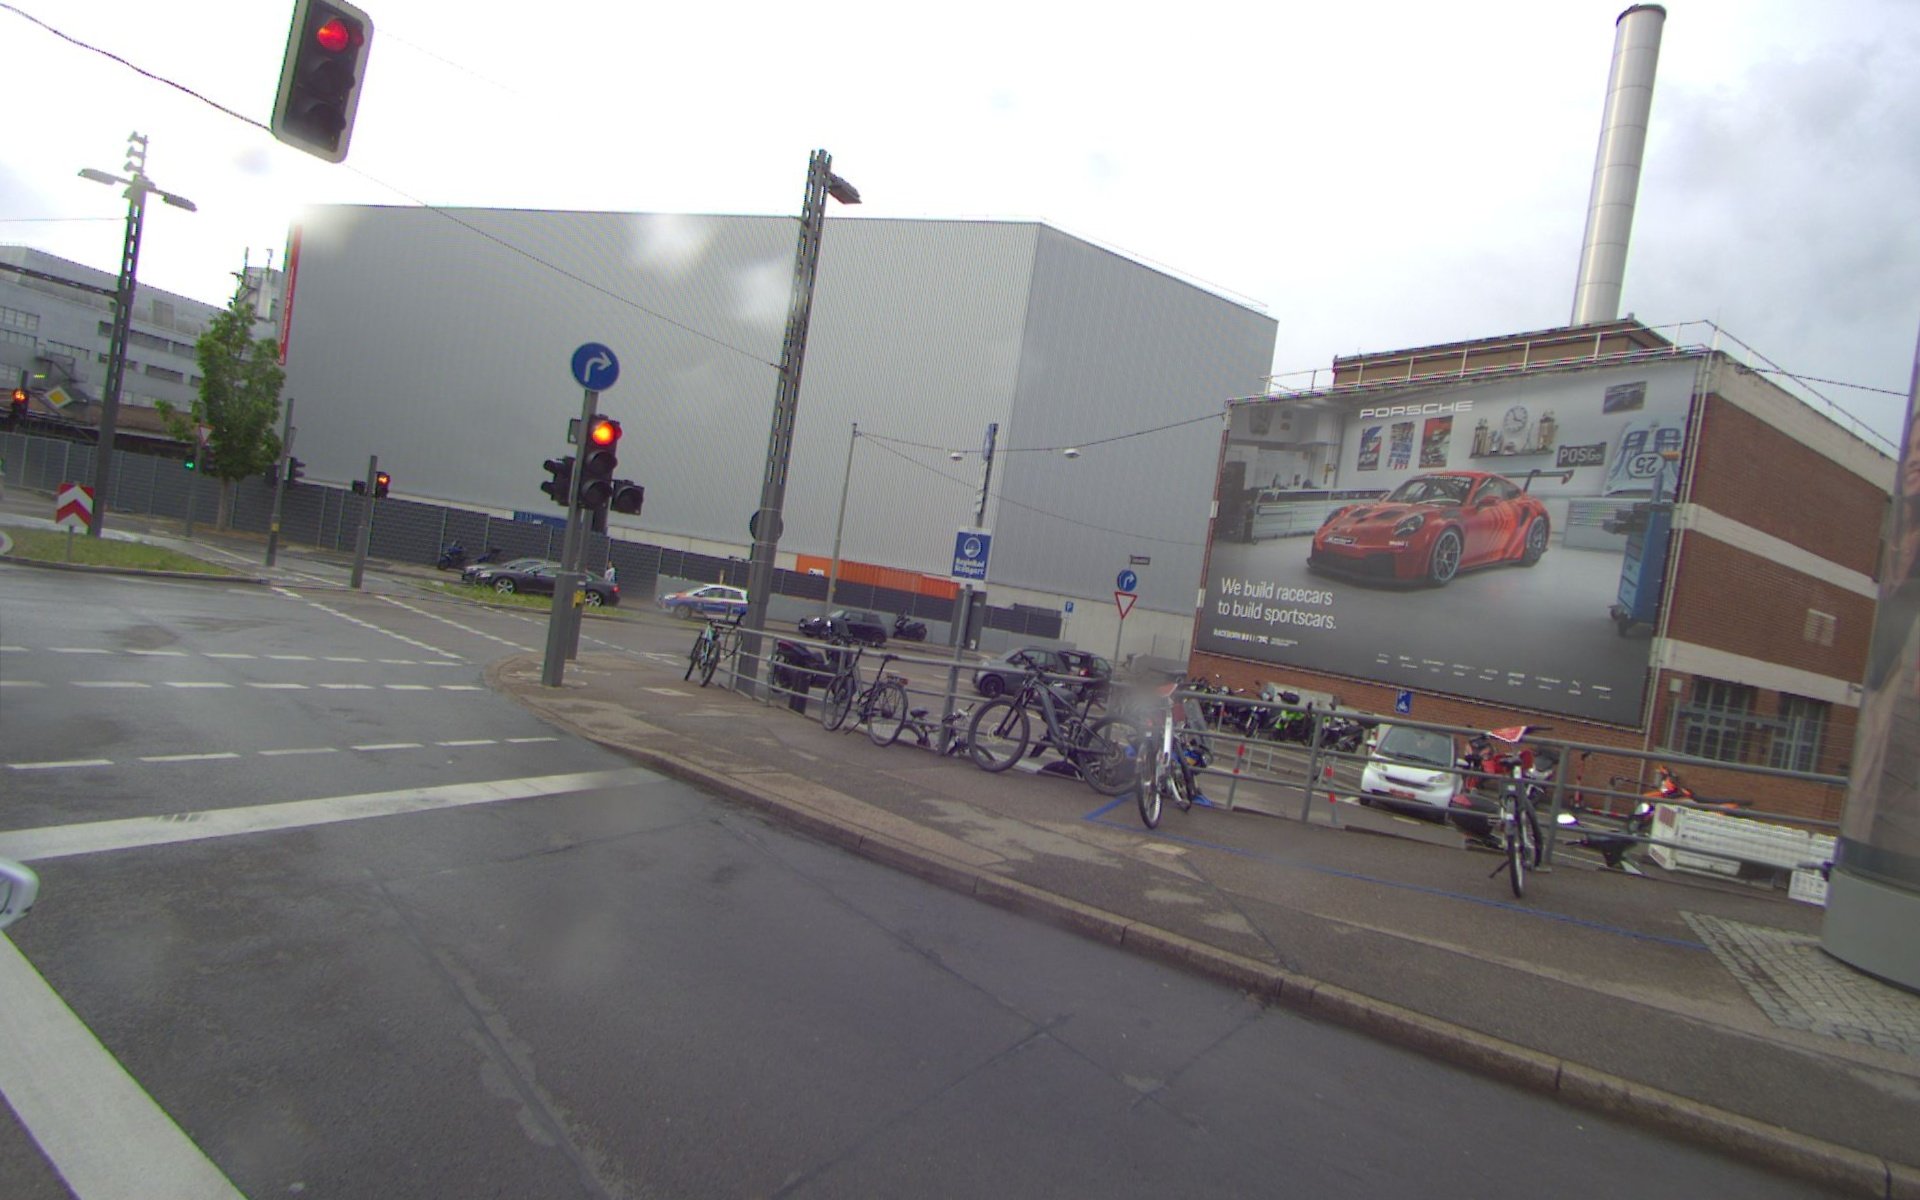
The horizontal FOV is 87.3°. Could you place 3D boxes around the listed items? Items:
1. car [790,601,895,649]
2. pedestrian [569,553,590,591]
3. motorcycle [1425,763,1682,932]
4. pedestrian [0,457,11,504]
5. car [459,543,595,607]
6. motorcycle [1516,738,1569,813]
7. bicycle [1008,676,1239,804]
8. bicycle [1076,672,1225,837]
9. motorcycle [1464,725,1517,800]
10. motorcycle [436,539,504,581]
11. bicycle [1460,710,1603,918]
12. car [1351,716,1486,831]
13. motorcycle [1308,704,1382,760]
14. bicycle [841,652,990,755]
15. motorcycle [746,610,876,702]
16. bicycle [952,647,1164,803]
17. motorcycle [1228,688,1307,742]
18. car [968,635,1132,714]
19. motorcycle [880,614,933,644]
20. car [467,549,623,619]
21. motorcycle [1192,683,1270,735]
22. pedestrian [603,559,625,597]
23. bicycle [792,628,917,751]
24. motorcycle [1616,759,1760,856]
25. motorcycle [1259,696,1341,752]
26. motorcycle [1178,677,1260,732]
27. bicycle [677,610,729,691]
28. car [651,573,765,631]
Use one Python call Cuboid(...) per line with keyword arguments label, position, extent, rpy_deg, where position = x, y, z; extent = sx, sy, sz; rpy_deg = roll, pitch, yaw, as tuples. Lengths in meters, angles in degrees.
Cuboid(label="car", position=(-5.027, 1.079, 43.091), extent=(3.958, 1.408, 1.744), rpy_deg=(10, -1, -29))
Cuboid(label="pedestrian", position=(-15.857, -1.151, 41.924), extent=(0.605, 1.499, 0.421), rpy_deg=(7, 0, -23))
Cuboid(label="motorcycle", position=(5.086, 2.102, 8.757), extent=(1.718, 1.002, 0.699), rpy_deg=(8, 0, 21))
Cuboid(label="pedestrian", position=(-34.673, -4.315, 36.061), extent=(0.805, 1.630, 0.760), rpy_deg=(6, 0, -41))
Cuboid(label="car", position=(-15.577, -0.903, 36.223), extent=(4.254, 1.557, 1.744), rpy_deg=(10, -1, -29))
Cuboid(label="motorcycle", position=(12.412, 3.697, 21.406), extent=(0.564, 1.327, 1.863), rpy_deg=(10, 3, 37))
Cuboid(label="bicycle", position=(1.638, 1.377, 10.248), extent=(2.138, 0.916, 0.693), rpy_deg=(6, -1, 32))
Cuboid(label="bicycle", position=(1.644, 1.223, 8.437), extent=(0.666, 1.154, 1.774), rpy_deg=(6, -1, 27))
Cuboid(label="motorcycle", position=(11.620, 3.522, 22.013), extent=(0.677, 1.327, 2.016), rpy_deg=(9, 3, 33))
Cuboid(label="motorcycle", position=(-19.763, -1.615, 40.596), extent=(2.335, 1.360, 0.648), rpy_deg=(8, 0, -30))
Cuboid(label="bicycle", position=(4.142, 1.478, 7.413), extent=(0.581, 1.176, 1.805), rpy_deg=(6, 0, 23))
Cuboid(label="car", position=(8.515, 3.085, 18.545), extent=(1.665, 1.499, 3.555), rpy_deg=(10, 1, 31))
Cuboid(label="motorcycle", position=(9.309, 3.182, 24.287), extent=(2.005, 1.206, 0.603), rpy_deg=(6, 3, -38))
Cuboid(label="bicycle", position=(-0.538, 1.164, 11.522), extent=(1.789, 0.916, 0.530), rpy_deg=(6, -1, 44))
Cuboid(label="motorcycle", position=(-2.687, 1.052, 18.382), extent=(0.746, 1.469, 2.225), rpy_deg=(8, -1, 42))
Cuboid(label="bicycle", position=(0.899, 1.153, 9.643), extent=(1.969, 1.176, 0.385), rpy_deg=(6, 0, 35))
Cuboid(label="motorcycle", position=(7.985, 2.984, 26.101), extent=(1.999, 1.206, 0.605), rpy_deg=(6, 3, -29))
Cuboid(label="car", position=(2.391, 2.015, 27.498), extent=(4.091, 1.547, 1.836), rpy_deg=(8, -2, -3))
Cuboid(label="motorcycle", position=(-2.727, 1.468, 51.573), extent=(2.471, 1.200, 0.991), rpy_deg=(8, -1, -34))
Cuboid(label="car", position=(-13.818, -0.531, 33.541), extent=(4.536, 1.557, 1.744), rpy_deg=(10, -1, -29))
Cuboid(label="motorcycle", position=(7.302, 2.940, 27.088), extent=(1.998, 1.206, 0.605), rpy_deg=(6, 3, -27))
Cuboid(label="pedestrian", position=(-14.480, -0.933, 42.111), extent=(0.642, 1.499, 0.436), rpy_deg=(7, 0, -25))
Cuboid(label="bicycle", position=(-1.215, 0.967, 11.248), extent=(0.383, 1.133, 1.731), rpy_deg=(6, 0, -39))
Cuboid(label="motorcycle", position=(14.104, 3.977, 19.537), extent=(0.922, 1.327, 1.961), rpy_deg=(5, 4, -41))
Cuboid(label="motorcycle", position=(8.479, 3.103, 25.041), extent=(1.999, 1.206, 0.605), rpy_deg=(6, 3, -29))
Cuboid(label="motorcycle", position=(7.244, 2.925, 28.200), extent=(1.987, 1.206, 0.608), rpy_deg=(7, 3, -4))
Cuboid(label="bicycle", position=(-4.115, 0.777, 16.022), extent=(0.381, 1.111, 1.740), rpy_deg=(6, 0, -25))
Cuboid(label="car", position=(-10.060, 0.083, 40.159), extent=(3.939, 1.620, 1.898), rpy_deg=(10, -1, -29))
